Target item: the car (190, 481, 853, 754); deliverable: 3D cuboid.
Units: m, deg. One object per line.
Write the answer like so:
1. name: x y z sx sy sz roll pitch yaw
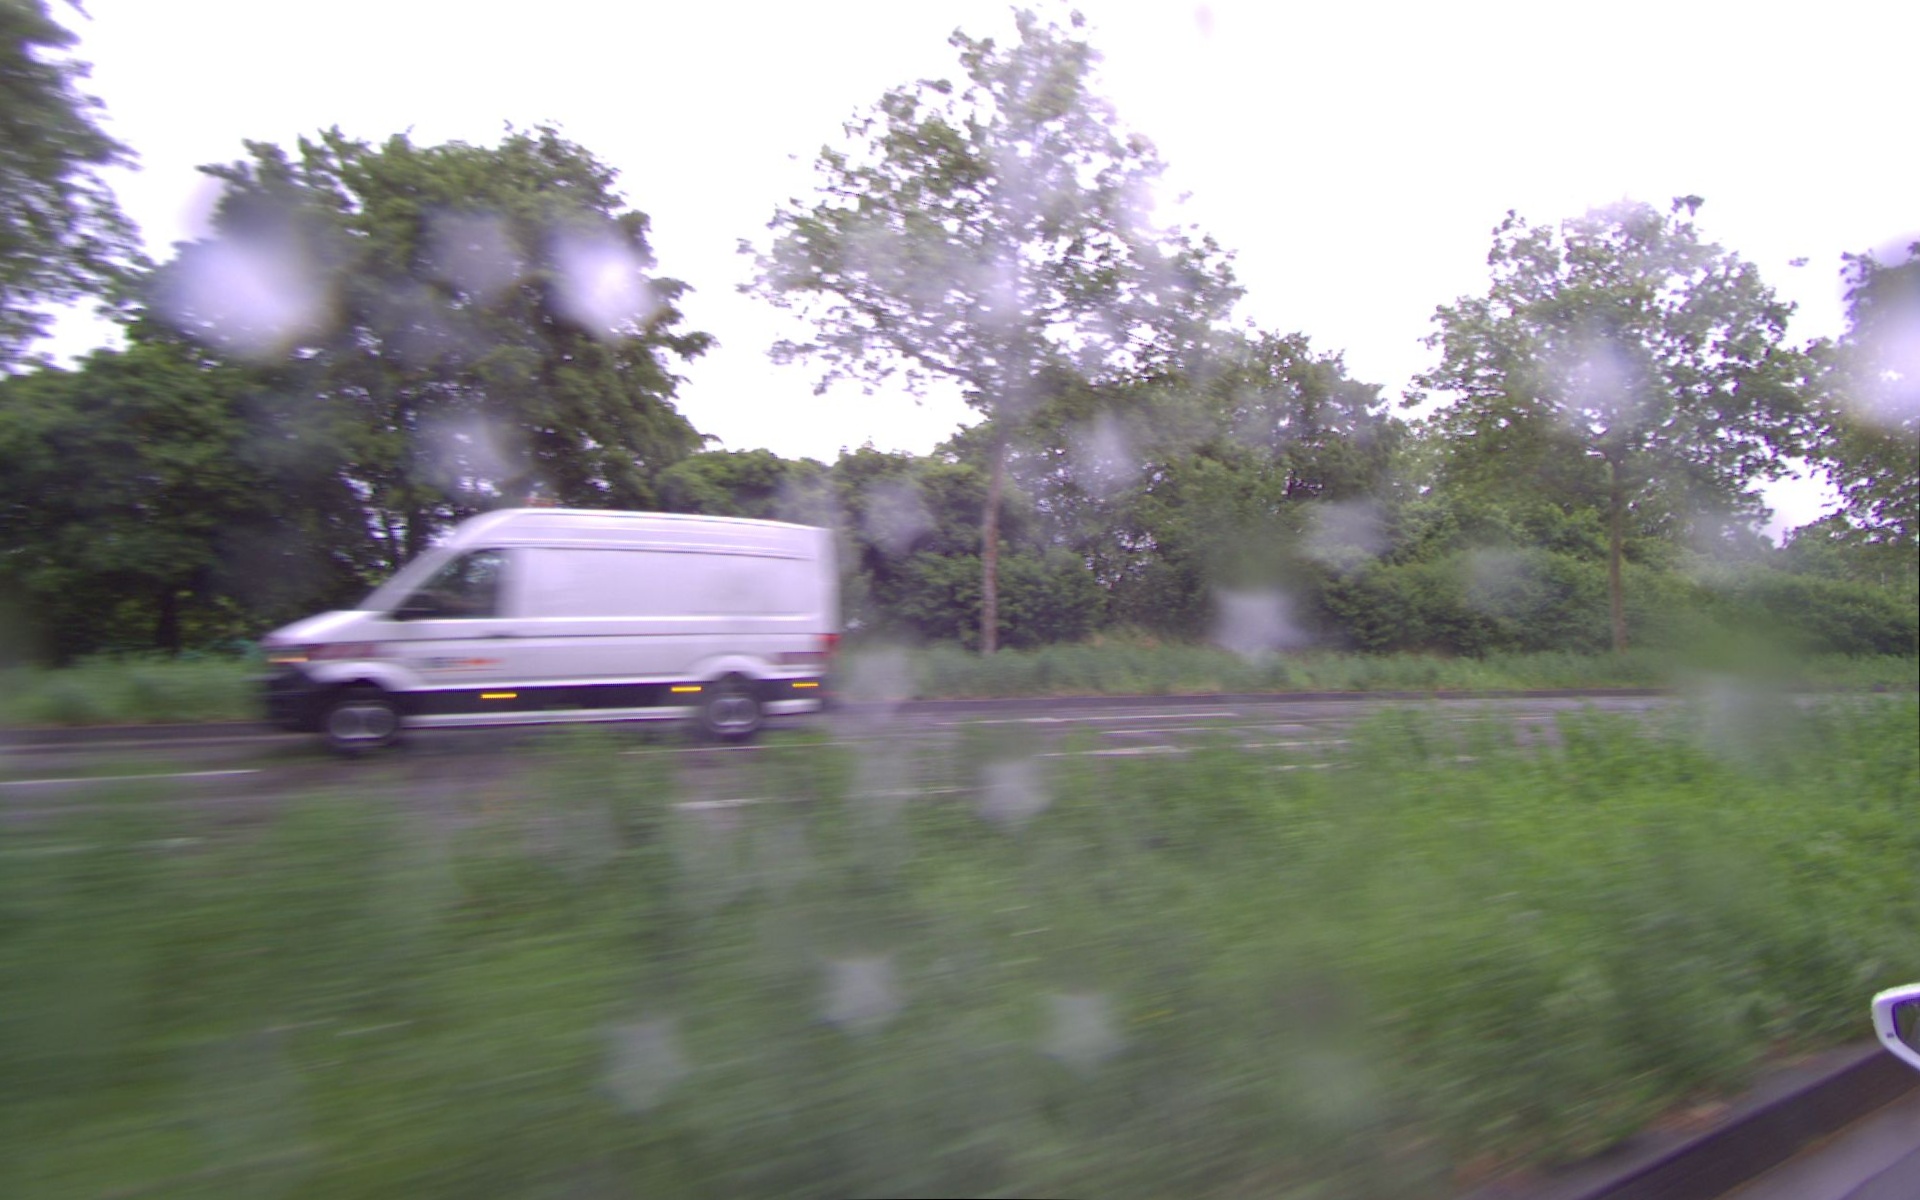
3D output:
1. car: -4.557 0.233 11.442 6.275 2.459 2.271 1 -2 -26
